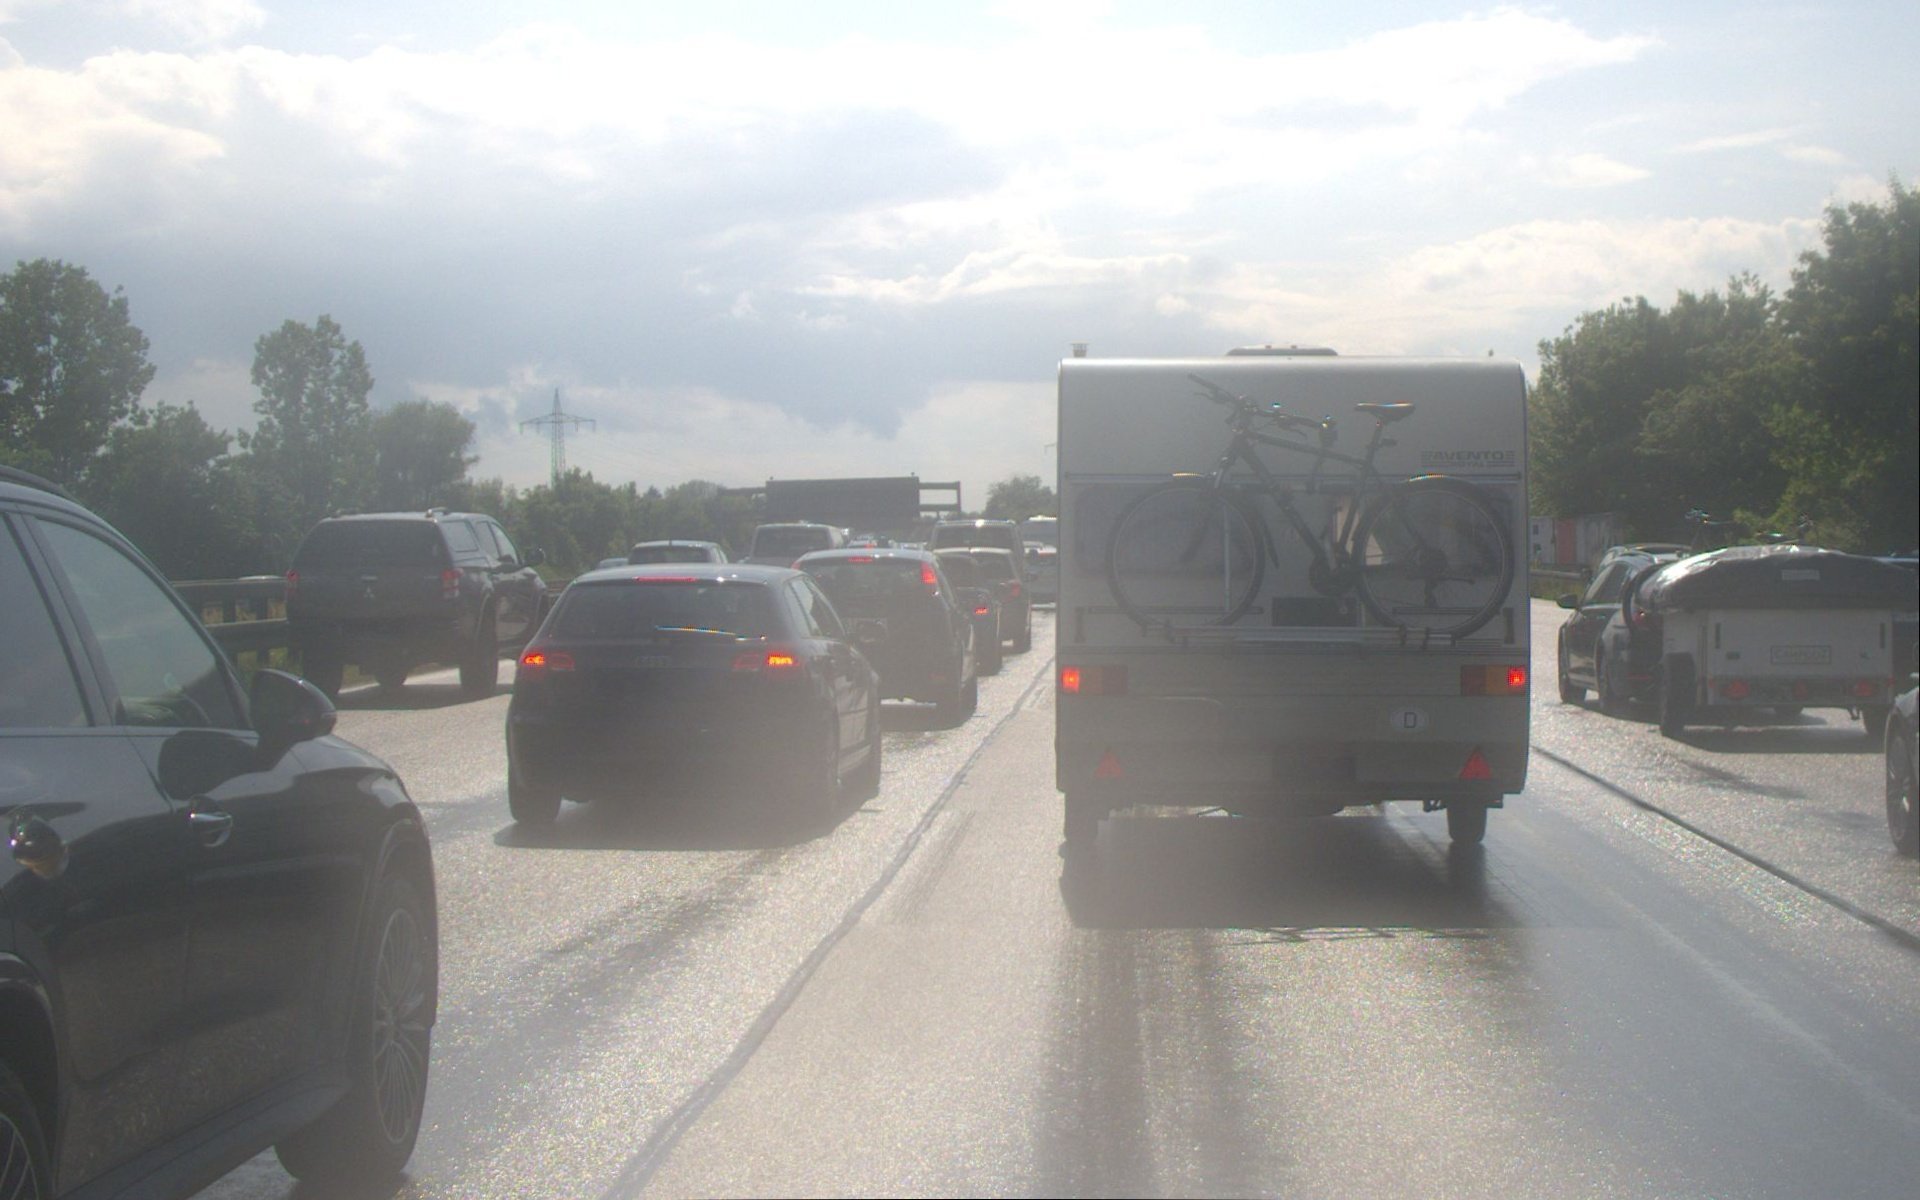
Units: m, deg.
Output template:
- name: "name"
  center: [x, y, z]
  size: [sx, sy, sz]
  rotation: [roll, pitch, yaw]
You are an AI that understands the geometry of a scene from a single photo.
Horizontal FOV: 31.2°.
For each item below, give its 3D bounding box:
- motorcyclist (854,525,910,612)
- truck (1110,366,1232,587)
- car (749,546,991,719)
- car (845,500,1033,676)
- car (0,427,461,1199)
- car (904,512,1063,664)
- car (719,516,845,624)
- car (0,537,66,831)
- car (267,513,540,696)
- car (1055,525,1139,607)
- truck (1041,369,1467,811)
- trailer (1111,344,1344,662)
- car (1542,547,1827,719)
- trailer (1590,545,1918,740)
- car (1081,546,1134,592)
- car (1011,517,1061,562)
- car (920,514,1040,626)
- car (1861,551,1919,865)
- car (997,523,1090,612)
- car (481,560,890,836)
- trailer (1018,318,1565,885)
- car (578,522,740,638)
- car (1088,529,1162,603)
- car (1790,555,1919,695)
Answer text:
- name: "motorcyclist"
  center: [-1.548, -0.627, 68.342]
  size: [1.064, 1.712, 0.785]
  rotation: [0, 1, 4]
- name: "truck"
  center: [4.780, -2.744, 78.836]
  size: [2.502, 4.813, 7.543]
  rotation: [1, 1, 2]
- name: "car"
  center: [-0.727, 0.242, 30.343]
  size: [1.806, 1.402, 4.000]
  rotation: [1, 1, 3]
- name: "car"
  center: [-0.206, -0.172, 41.735]
  size: [1.994, 2.007, 4.000]
  rotation: [1, 1, 4]
- name: "car"
  center: [-2.362, 0.554, 6.296]
  size: [1.994, 1.656, 4.405]
  rotation: [0, 1, 4]
- name: "car"
  center: [0.386, -0.203, 50.230]
  size: [1.994, 2.007, 4.000]
  rotation: [4, 1, 4]
- name: "car"
  center: [-3.572, -0.630, 69.764]
  size: [1.994, 2.007, 4.000]
  rotation: [4, 1, 4]
- name: "car"
  center: [-5.875, 0.452, 16.638]
  size: [1.757, 1.511, 4.208]
  rotation: [0, 1, 4]
- name: "car"
  center: [-5.525, 0.021, 34.620]
  size: [1.993, 1.714, 4.000]
  rotation: [1, 1, 1]
- name: "car"
  center: [3.516, -0.878, 87.702]
  size: [1.994, 2.007, 4.000]
  rotation: [2, 1, 4]
- name: "truck"
  center: [1.795, -0.094, 22.314]
  size: [2.374, 2.468, 5.756]
  rotation: [1, 1, 3]
- name: "trailer"
  center: [3.876, -1.336, 49.396]
  size: [3.007, 4.152, 8.534]
  rotation: [0, 1, 5]
- name: "car"
  center: [6.434, 0.246, 30.964]
  size: [1.855, 1.437, 4.258]
  rotation: [0, 1, 3]
- name: "trailer"
  center: [6.275, 0.283, 27.622]
  size: [1.855, 1.437, 4.147]
  rotation: [0, 1, 3]
- name: "car"
  center: [5.754, -1.227, 134.732]
  size: [1.876, 1.754, 4.000]
  rotation: [1, 1, 0]
- name: "car"
  center: [3.022, -2.428, 137.571]
  size: [1.876, 1.754, 4.000]
  rotation: [1, 1, 0]
- name: "car"
  center: [0.404, -0.567, 63.953]
  size: [1.994, 2.007, 4.000]
  rotation: [0, 1, 4]
- name: "car"
  center: [5.173, 0.502, 14.808]
  size: [1.740, 1.415, 3.835]
  rotation: [0, 1, 3]
- name: "car"
  center: [2.008, -0.782, 81.869]
  size: [1.994, 2.007, 4.000]
  rotation: [2, 1, 4]
- name: "car"
  center: [-1.443, 0.476, 19.506]
  size: [1.757, 1.382, 3.944]
  rotation: [0, 1, 4]
- name: "trailer"
  center: [1.612, -0.039, 18.432]
  size: [2.374, 2.475, 6.522]
  rotation: [1, 1, 3]
- name: "car"
  center: [-4.769, -0.339, 54.969]
  size: [1.994, 1.766, 4.000]
  rotation: [1, 1, 4]
- name: "car"
  center: [4.854, -1.007, 100.911]
  size: [1.994, 2.007, 4.000]
  rotation: [4, 1, 4]
- name: "car"
  center: [10.210, 0.230, 36.975]
  size: [1.771, 1.397, 4.289]
  rotation: [0, 1, 4]
